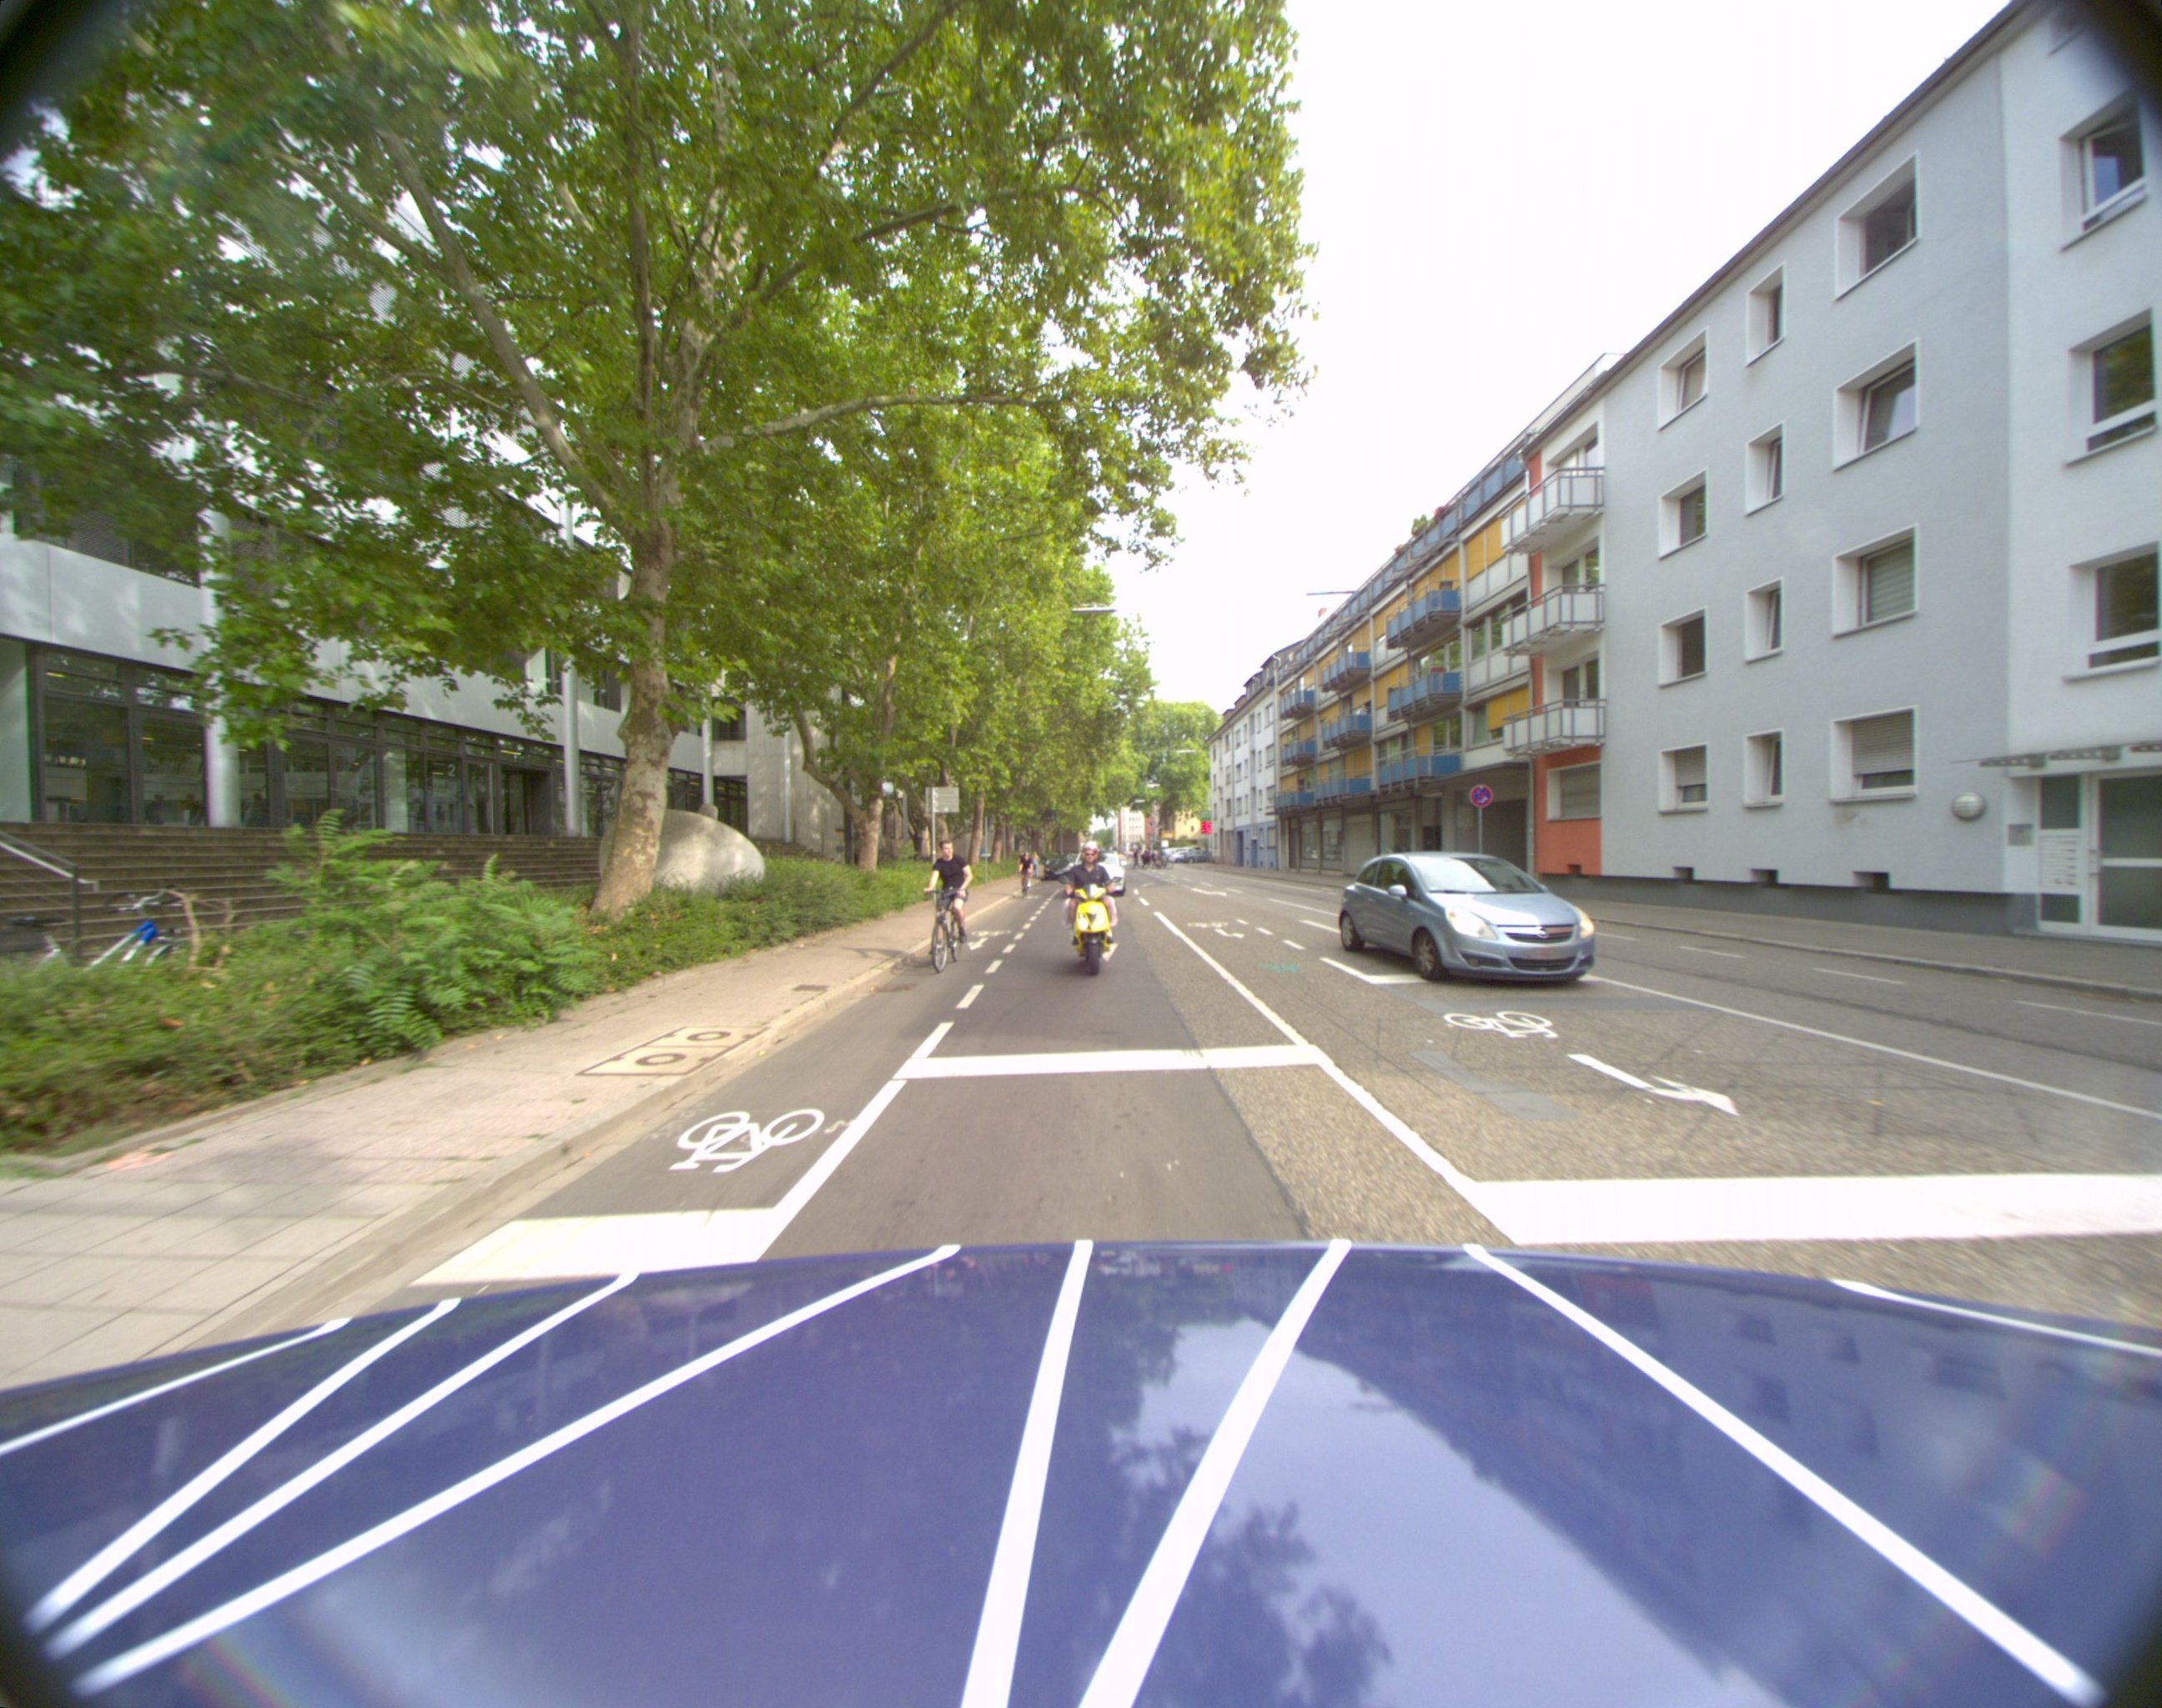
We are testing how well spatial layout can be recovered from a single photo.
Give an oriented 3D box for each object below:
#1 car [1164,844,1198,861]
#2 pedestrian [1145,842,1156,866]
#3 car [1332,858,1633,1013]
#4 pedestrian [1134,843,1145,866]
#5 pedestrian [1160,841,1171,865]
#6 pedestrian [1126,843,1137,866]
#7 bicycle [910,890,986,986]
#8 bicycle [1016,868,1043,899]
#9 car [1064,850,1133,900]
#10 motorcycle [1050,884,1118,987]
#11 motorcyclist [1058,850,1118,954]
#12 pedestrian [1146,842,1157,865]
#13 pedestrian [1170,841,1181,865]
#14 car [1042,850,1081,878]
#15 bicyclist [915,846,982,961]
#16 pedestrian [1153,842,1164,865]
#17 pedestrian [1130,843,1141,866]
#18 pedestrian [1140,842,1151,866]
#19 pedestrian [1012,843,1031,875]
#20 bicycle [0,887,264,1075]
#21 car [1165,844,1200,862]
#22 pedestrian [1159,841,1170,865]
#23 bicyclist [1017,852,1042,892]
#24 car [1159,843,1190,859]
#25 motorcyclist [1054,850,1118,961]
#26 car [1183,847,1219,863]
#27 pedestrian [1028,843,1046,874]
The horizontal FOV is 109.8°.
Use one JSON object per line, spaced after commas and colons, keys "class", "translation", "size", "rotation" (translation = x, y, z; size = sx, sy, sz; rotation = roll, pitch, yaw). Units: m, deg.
{"class": "car", "translation": [12.738, -0.228, 96.749], "size": [3.997, 2.002, 2.000], "rotation": [-3, 1, 0]}
{"class": "pedestrian", "translation": [5.902, -0.008, 64.170], "size": [0.842, 2.002, 0.875], "rotation": [-3, 1, 5]}
{"class": "car", "translation": [4.532, 0.803, 9.287], "size": [1.673, 1.430, 3.820], "rotation": [-1, 1, 0]}
{"class": "pedestrian", "translation": [5.125, 0.010, 66.875], "size": [0.842, 2.002, 0.875], "rotation": [-3, 1, 5]}
{"class": "pedestrian", "translation": [7.136, -0.069, 64.354], "size": [0.842, 2.002, 0.875], "rotation": [-3, 1, 5]}
{"class": "pedestrian", "translation": [4.381, 0.051, 66.190], "size": [0.842, 2.002, 0.875], "rotation": [-3, 1, 5]}
{"class": "bicycle", "translation": [-1.873, 1.146, 10.998], "size": [0.773, 1.124, 2.003], "rotation": [-4, 0, -3]}
{"class": "bicycle", "translation": [-1.902, 1.091, 28.309], "size": [0.771, 1.009, 2.407], "rotation": [-3, 1, 0]}
{"class": "car", "translation": [0.730, 0.696, 27.698], "size": [1.997, 1.543, 4.523], "rotation": [-3, 0, 7]}
{"class": "motorcycle", "translation": [0.090, 1.039, 10.310], "size": [0.781, 1.171, 1.993], "rotation": [-2, 0, 3]}
{"class": "motorcyclist", "translation": [0.111, 0.671, 10.865], "size": [0.781, 1.419, 0.689], "rotation": [-2, 0, 3]}
{"class": "pedestrian", "translation": [6.299, -0.054, 68.004], "size": [0.842, 2.002, 0.875], "rotation": [-3, 1, 5]}
{"class": "pedestrian", "translation": [8.002, -0.111, 64.452], "size": [0.842, 2.002, 0.875], "rotation": [-3, 1, 5]}
{"class": "car", "translation": [-1.146, 0.592, 47.064], "size": [1.998, 1.532, 4.272], "rotation": [-3, 0, 3]}
{"class": "bicyclist", "translation": [-1.909, 0.694, 11.068], "size": [0.773, 1.574, 0.801], "rotation": [-4, 1, -3]}
{"class": "pedestrian", "translation": [6.765, -0.064, 66.234], "size": [0.842, 2.002, 0.875], "rotation": [-3, 1, 5]}
{"class": "pedestrian", "translation": [4.843, 0.018, 67.704], "size": [0.842, 2.002, 0.875], "rotation": [-3, 1, 5]}
{"class": "pedestrian", "translation": [5.525, 0.005, 64.908], "size": [0.842, 2.002, 0.875], "rotation": [-3, 1, 5]}
{"class": "pedestrian", "translation": [-3.868, 0.329, 49.632], "size": [1.003, 2.002, 0.997], "rotation": [-3, 1, 3]}
{"class": "bicycle", "translation": [-7.530, 0.895, 5.772], "size": [0.700, 1.162, 1.725], "rotation": [-3, 1, 1]}
{"class": "car", "translation": [12.606, -0.133, 94.255], "size": [3.997, 2.002, 2.000], "rotation": [-3, 1, 0]}
{"class": "pedestrian", "translation": [7.331, -0.094, 66.679], "size": [0.842, 2.002, 0.875], "rotation": [-3, 1, 5]}
{"class": "bicyclist", "translation": [-1.918, 0.673, 28.407], "size": [0.784, 1.438, 0.914], "rotation": [-3, 1, 1]}
{"class": "car", "translation": [13.011, -0.370, 106.046], "size": [3.997, 2.002, 2.000], "rotation": [-3, 1, 0]}
{"class": "motorcyclist", "translation": [0.086, 0.677, 10.287], "size": [0.781, 1.419, 0.764], "rotation": [-2, 0, 3]}
{"class": "car", "translation": [14.090, 0.087, 89.570], "size": [3.870, 1.678, 1.882], "rotation": [-3, 1, 0]}
{"class": "pedestrian", "translation": [-2.848, 0.294, 49.579], "size": [1.003, 2.002, 0.997], "rotation": [-3, 1, 3]}
